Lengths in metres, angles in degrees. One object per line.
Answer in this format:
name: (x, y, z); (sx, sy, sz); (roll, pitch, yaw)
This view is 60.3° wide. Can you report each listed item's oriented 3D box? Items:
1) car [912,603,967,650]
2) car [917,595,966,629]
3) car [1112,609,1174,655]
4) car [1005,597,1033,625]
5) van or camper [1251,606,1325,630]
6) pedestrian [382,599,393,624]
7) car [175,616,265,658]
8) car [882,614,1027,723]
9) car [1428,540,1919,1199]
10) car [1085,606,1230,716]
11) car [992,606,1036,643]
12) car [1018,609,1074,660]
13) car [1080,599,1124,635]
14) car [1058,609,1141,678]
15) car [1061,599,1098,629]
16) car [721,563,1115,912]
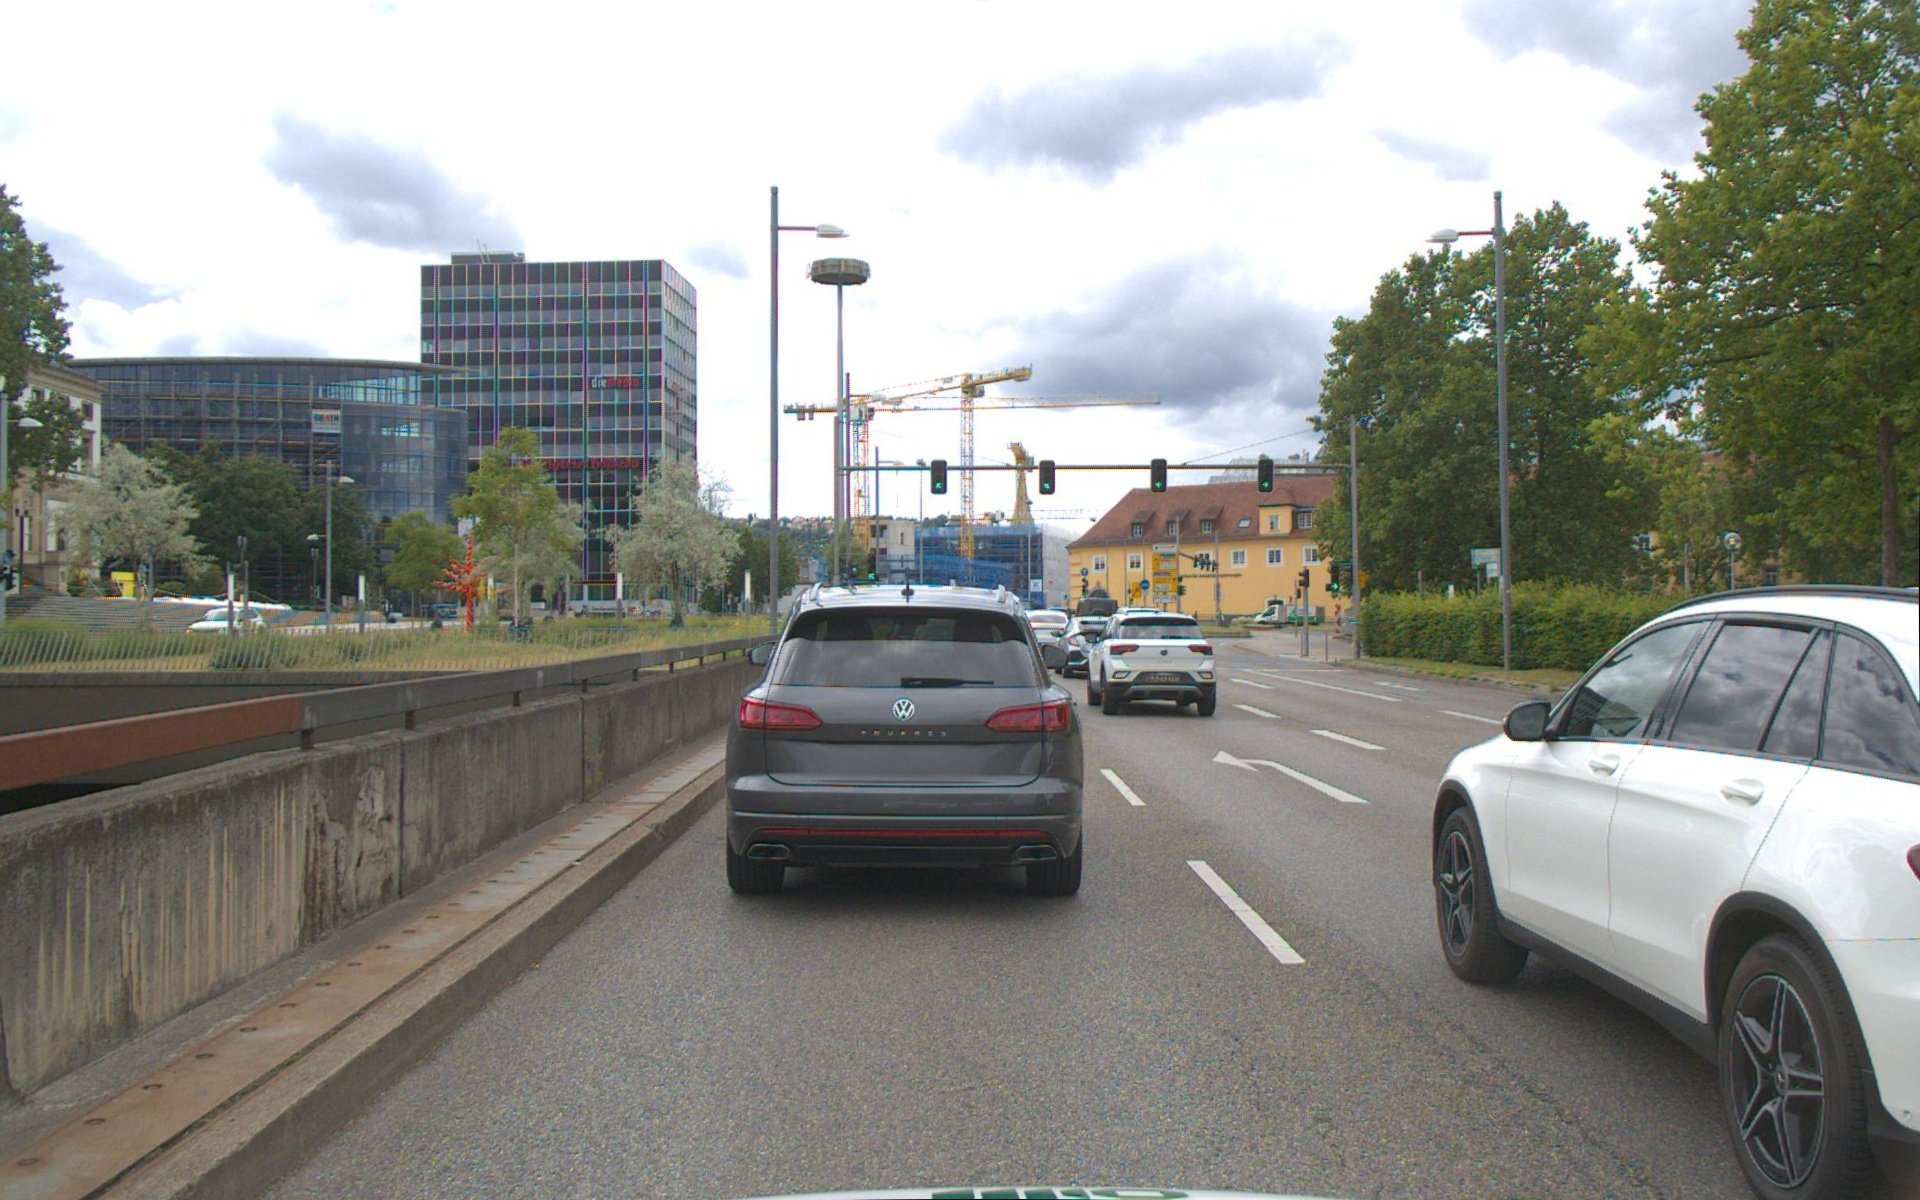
car: (-0.684, 0.871, 55.799); (1.777, 1.522, 3.905); (1, 0, -1)
car: (-0.819, 0.560, 77.657); (2.198, 1.529, 4.611); (1, 0, 1)
car: (6.342, 1.085, 57.671); (1.766, 1.529, 3.981); (1, 0, 1)
car: (4.449, 0.828, 124.690); (1.953, 2.049, 3.999); (0, 0, -1)
van or camper: (27.963, 1.535, 140.979); (5.903, 2.049, 2.012); (0, -1, 35)
pedestrian: (-38.162, 0.774, 110.258); (0.513, 1.678, 0.650); (1, -1, -2)
car: (-31.180, 1.531, 69.826); (1.683, 1.602, 4.613); (0, 0, 1)
car: (-0.095, 0.939, 24.320); (1.953, 1.411, 3.999); (0, 0, -1)
car: (3.037, 0.714, 5.459); (1.781, 1.676, 4.379); (1, 0, 1)
car: (3.101, 0.917, 26.666); (1.855, 1.613, 3.800); (1, 0, 0)
car: (2.660, 1.211, 81.961); (2.095, 1.758, 4.071); (0, -1, 1)
car: (2.725, 1.060, 52.161); (1.683, 1.529, 3.982); (1, 0, 3)
car: (6.274, 0.750, 73.416); (1.683, 1.529, 3.981); (1, 0, 1)
car: (3.316, 1.011, 39.827); (1.683, 1.529, 4.144); (1, 0, 1)
car: (6.260, 0.740, 87.052); (1.683, 1.529, 3.981); (1, 0, 1)
car: (-0.222, 0.669, 10.024); (1.893, 1.676, 3.999); (1, 0, -1)
